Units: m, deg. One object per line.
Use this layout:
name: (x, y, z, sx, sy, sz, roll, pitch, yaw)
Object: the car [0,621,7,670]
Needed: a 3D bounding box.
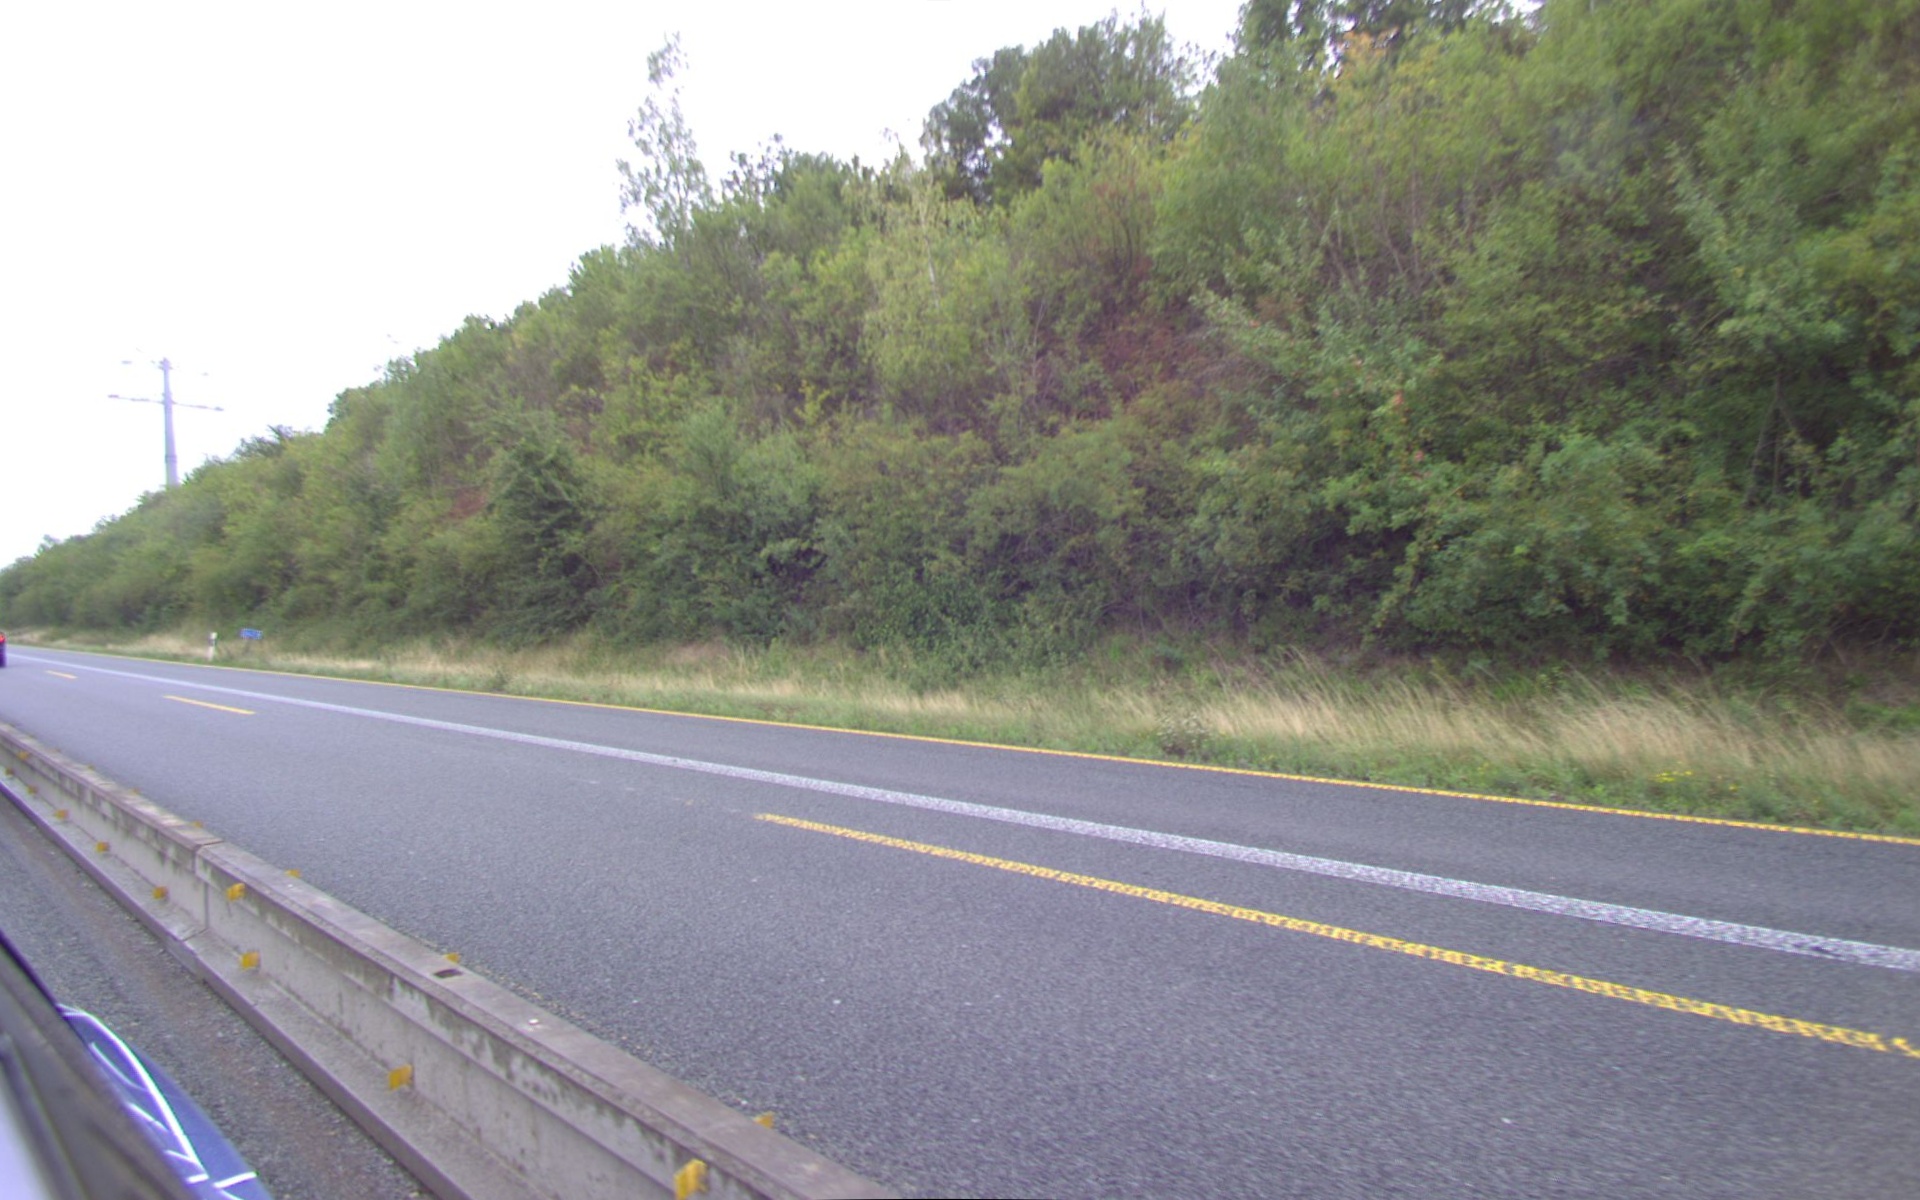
car: (-33.832, 1.545, 34.433, 4.117, 1.645, 1.790, -1, 0, 43)
